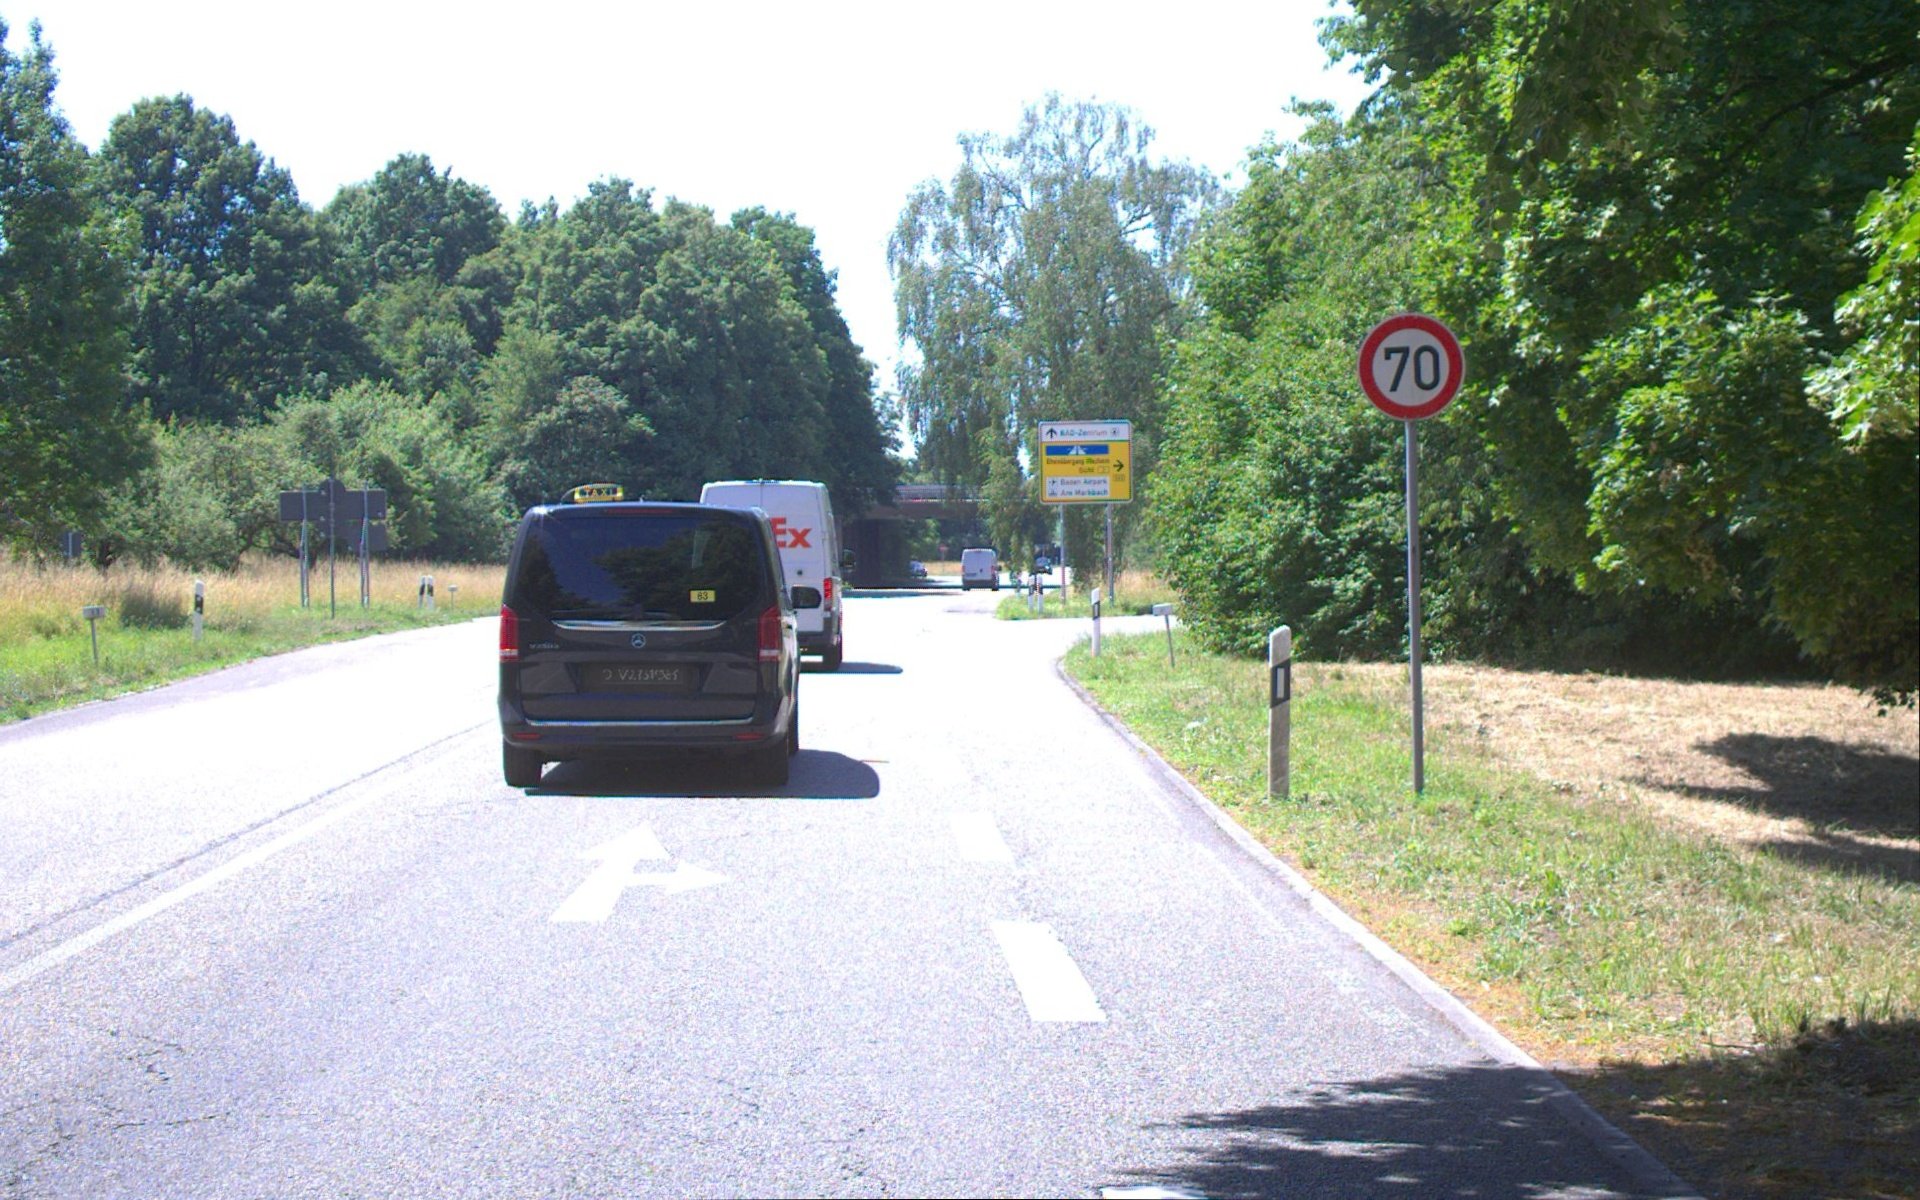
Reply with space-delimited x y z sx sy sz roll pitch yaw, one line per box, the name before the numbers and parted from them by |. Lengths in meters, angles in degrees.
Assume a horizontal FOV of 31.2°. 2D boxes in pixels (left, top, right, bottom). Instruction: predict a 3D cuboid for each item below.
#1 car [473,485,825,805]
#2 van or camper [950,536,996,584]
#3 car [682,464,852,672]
car | -2.043 0.254 23.966 1.993 1.946 5.005 1 1 -1
van or camper | 0.782 -2.468 213.336 2.631 2.919 5.207 1 0 -2
car | -2.610 -0.446 47.560 2.078 2.693 4.666 1 1 -1
